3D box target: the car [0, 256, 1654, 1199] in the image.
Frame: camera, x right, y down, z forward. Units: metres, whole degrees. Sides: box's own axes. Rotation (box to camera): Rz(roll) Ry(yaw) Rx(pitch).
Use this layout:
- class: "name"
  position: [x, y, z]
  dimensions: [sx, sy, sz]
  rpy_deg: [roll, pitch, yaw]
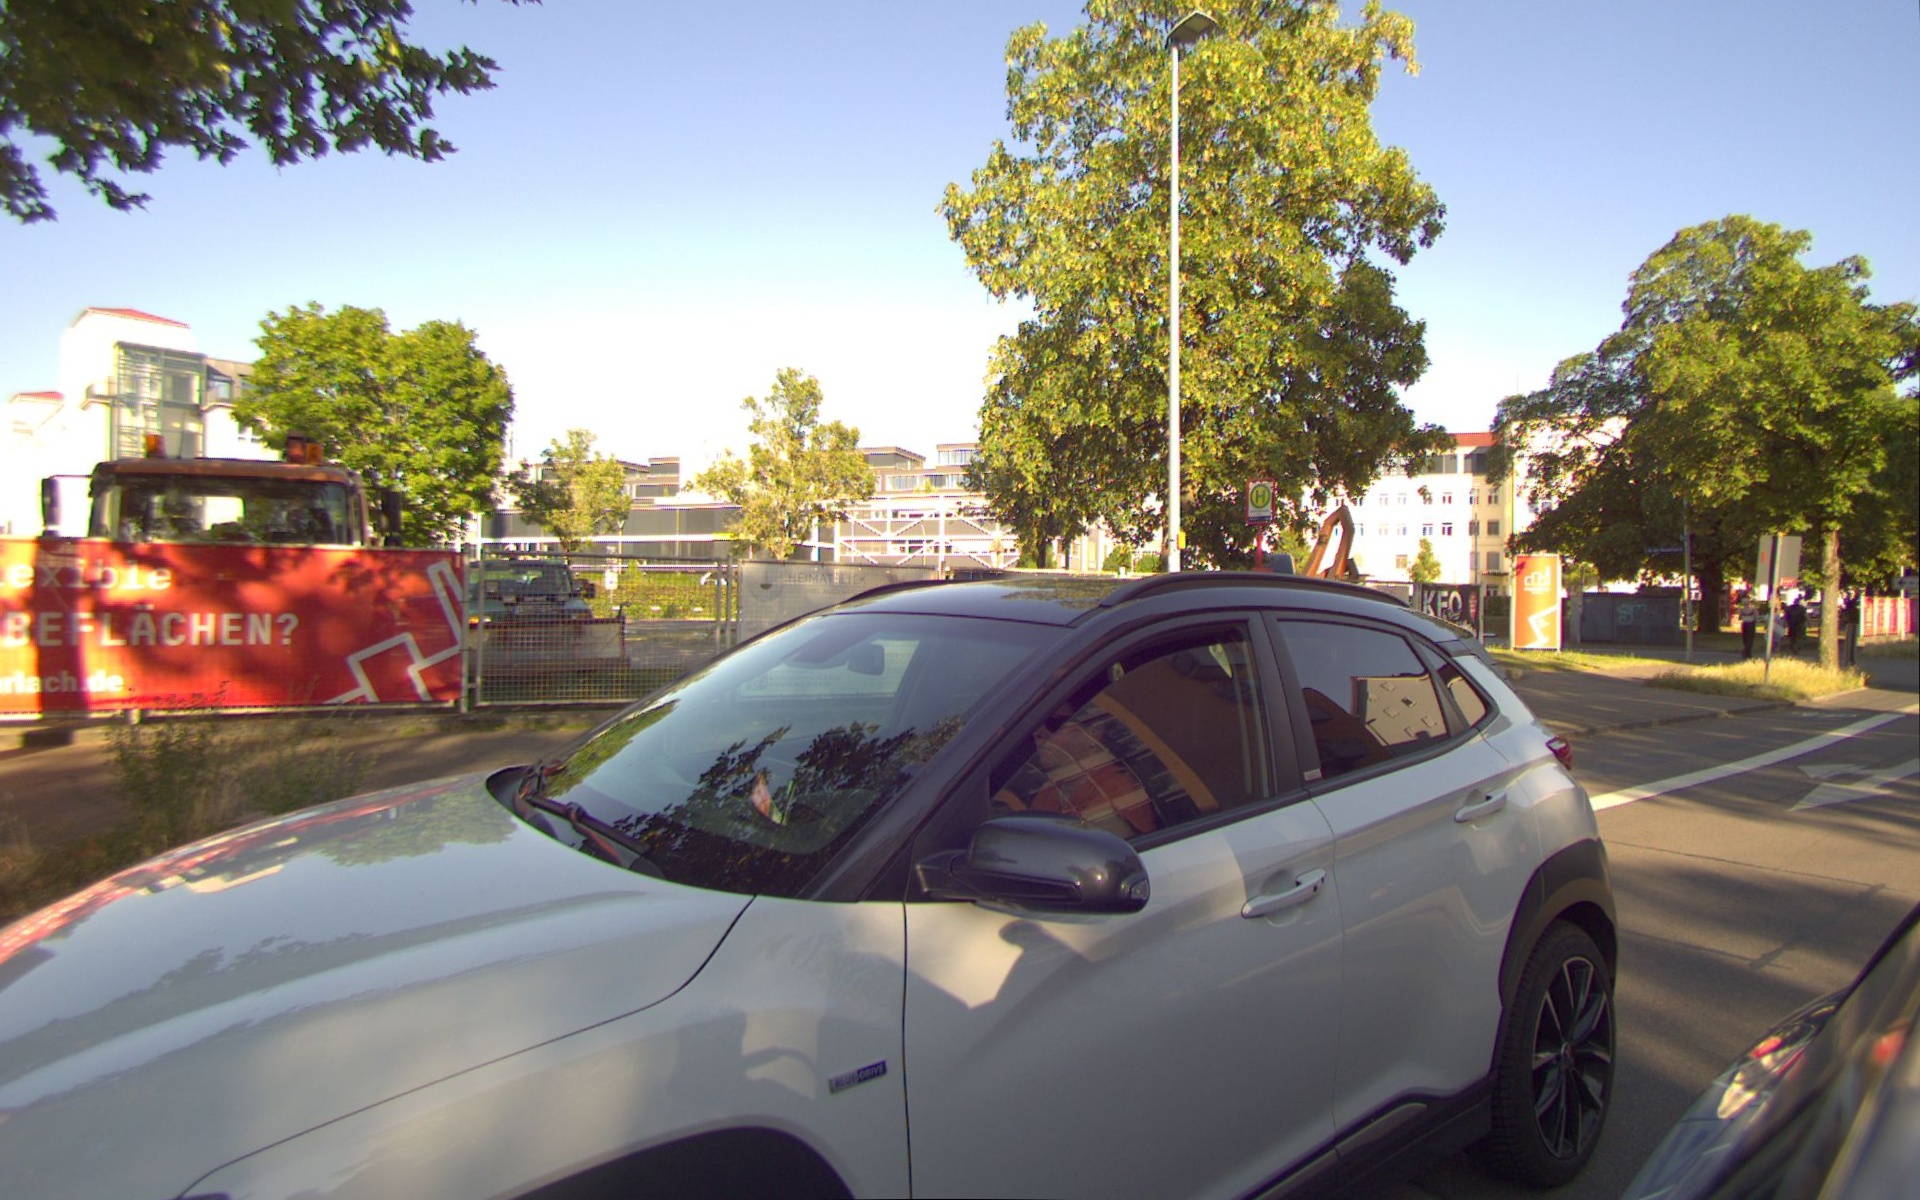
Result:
- class: "car"
  position: [-0.044, 0.609, 2.505]
  dimensions: [3.893, 1.618, 1.894]
  rpy_deg: [3, -2, -39]

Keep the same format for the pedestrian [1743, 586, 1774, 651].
- class: "pedestrian"
  position: [21.794, 0.487, 27.629]
  dimensions: [0.607, 1.759, 0.629]
  rpy_deg: [0, 0, 44]

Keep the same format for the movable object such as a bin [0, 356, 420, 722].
- class: "movable object such as a bin"
  position: [-8.392, -0.548, 12.055]
  dimensions: [3.154, 3.087, 6.295]
  rpy_deg: [0, 0, -31]

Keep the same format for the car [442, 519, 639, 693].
- class: "car"
  position: [-5.668, 0.044, 13.294]
  dimensions: [2.001, 1.851, 4.612]
  rpy_deg: [0, 0, -28]

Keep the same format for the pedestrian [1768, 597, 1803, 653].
- class: "pedestrian"
  position: [21.842, 0.659, 26.790]
  dimensions: [0.627, 1.452, 0.609]
  rpy_deg: [0, 0, -40]

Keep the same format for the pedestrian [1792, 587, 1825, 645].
- class: "pedestrian"
  position: [25.202, 0.473, 30.069]
  dimensions: [0.692, 1.689, 0.630]
  rpy_deg: [0, 0, 37]

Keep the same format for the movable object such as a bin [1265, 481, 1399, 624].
- class: "movable object such as a bin"
  position: [15.521, -1.881, 42.763]
  dimensions: [3.910, 5.547, 6.022]
  rpy_deg: [0, 0, 6]
